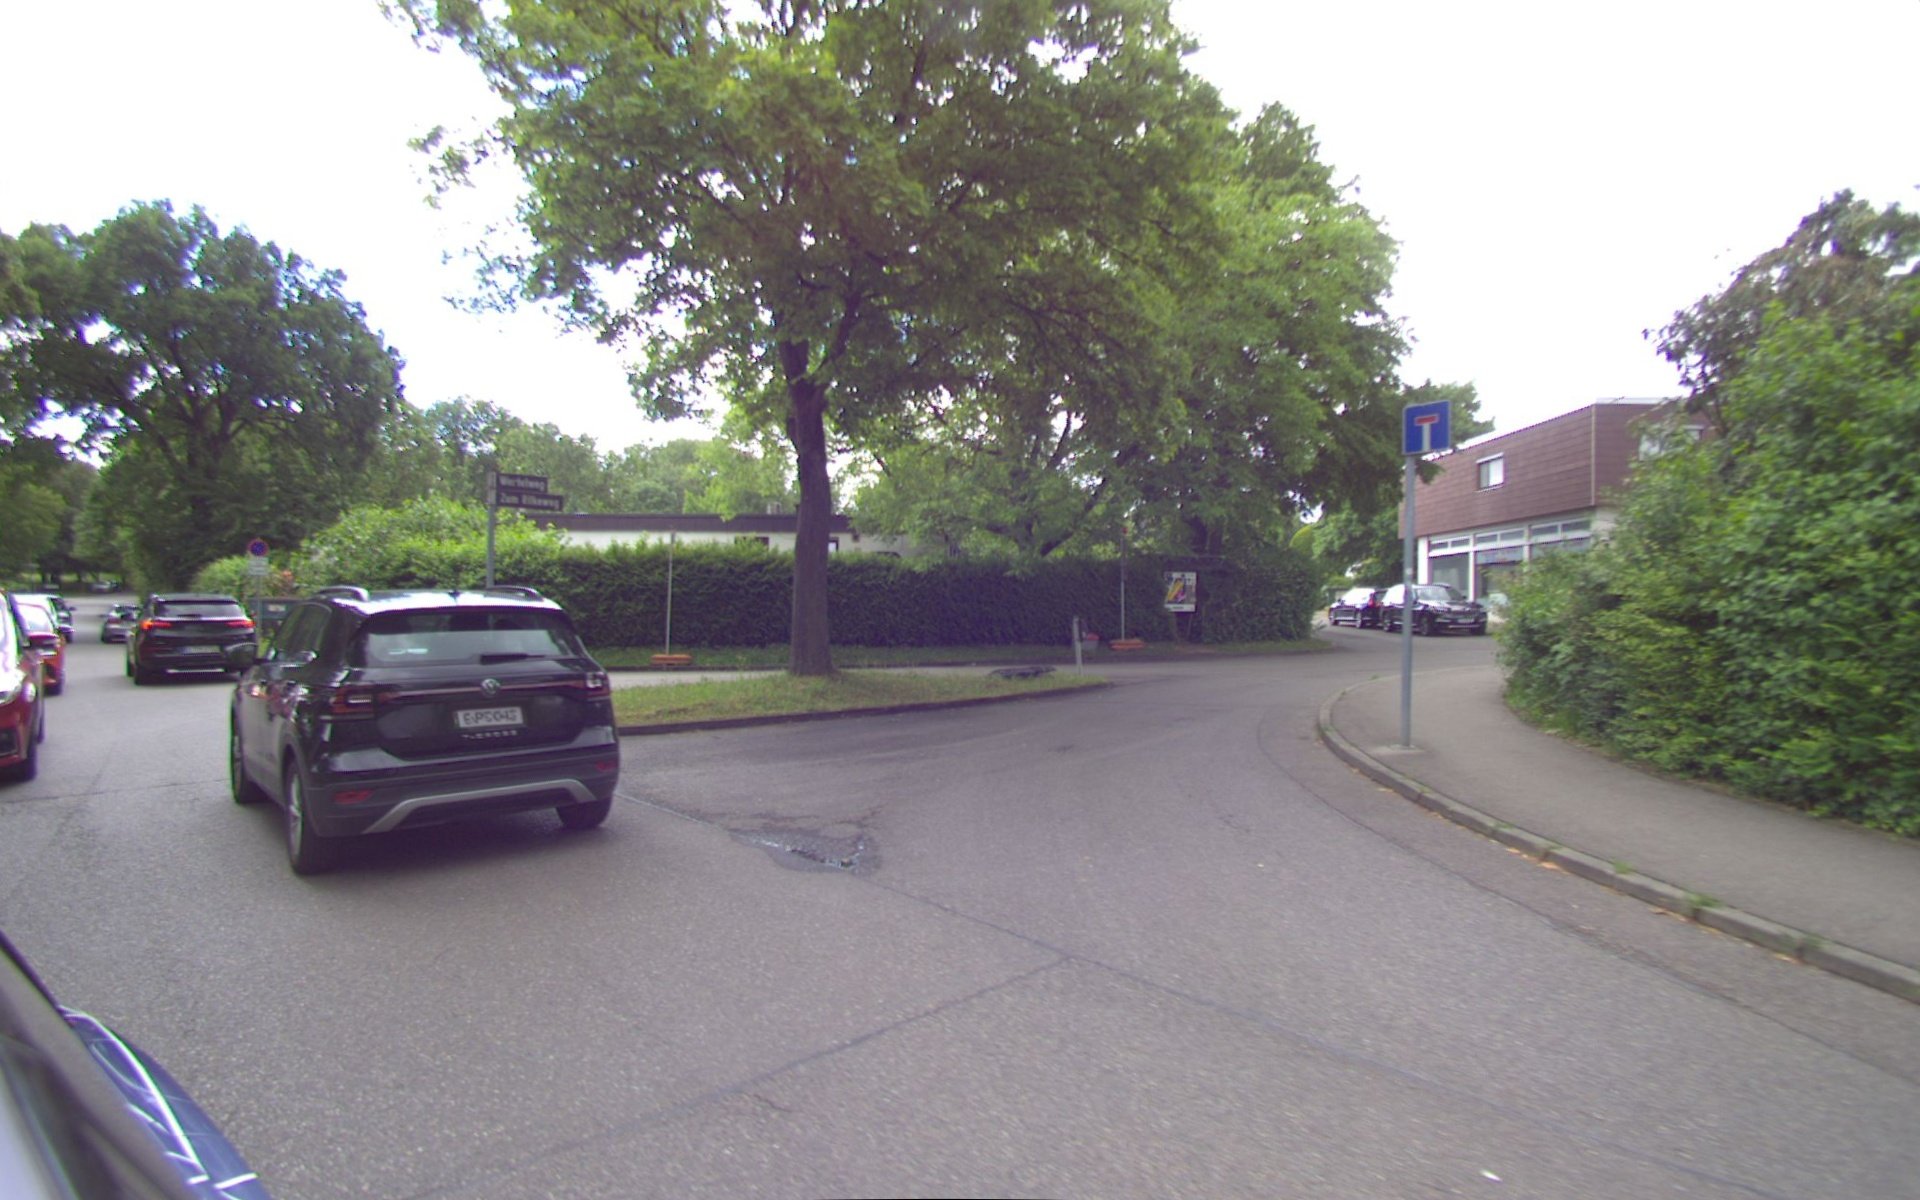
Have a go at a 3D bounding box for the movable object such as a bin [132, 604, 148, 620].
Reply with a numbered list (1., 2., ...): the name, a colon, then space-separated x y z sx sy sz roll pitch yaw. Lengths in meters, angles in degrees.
1. movable object such as a bin: -52.308 0.762 64.549 0.639 1.020 0.634 2 -1 -26

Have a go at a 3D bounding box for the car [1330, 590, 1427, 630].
1. car: 15.783 0.384 38.397 1.947 1.386 4.000 -1 0 -1

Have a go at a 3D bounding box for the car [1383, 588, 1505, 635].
1. car: 15.733 0.365 33.182 1.973 1.386 4.277 -2 0 1

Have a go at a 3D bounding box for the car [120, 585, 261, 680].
1. car: -14.646 0.557 19.172 1.781 1.603 4.301 0 0 -42

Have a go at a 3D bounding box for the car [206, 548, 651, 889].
1. car: -3.887 0.568 6.973 1.781 1.603 4.302 0 0 -41

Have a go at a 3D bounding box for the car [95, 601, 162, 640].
1. car: -29.462 0.689 35.900 1.758 1.316 4.304 0 0 -39

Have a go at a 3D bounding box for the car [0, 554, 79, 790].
1. car: -8.914 0.452 8.542 1.788 1.740 4.010 4 -1 -36
